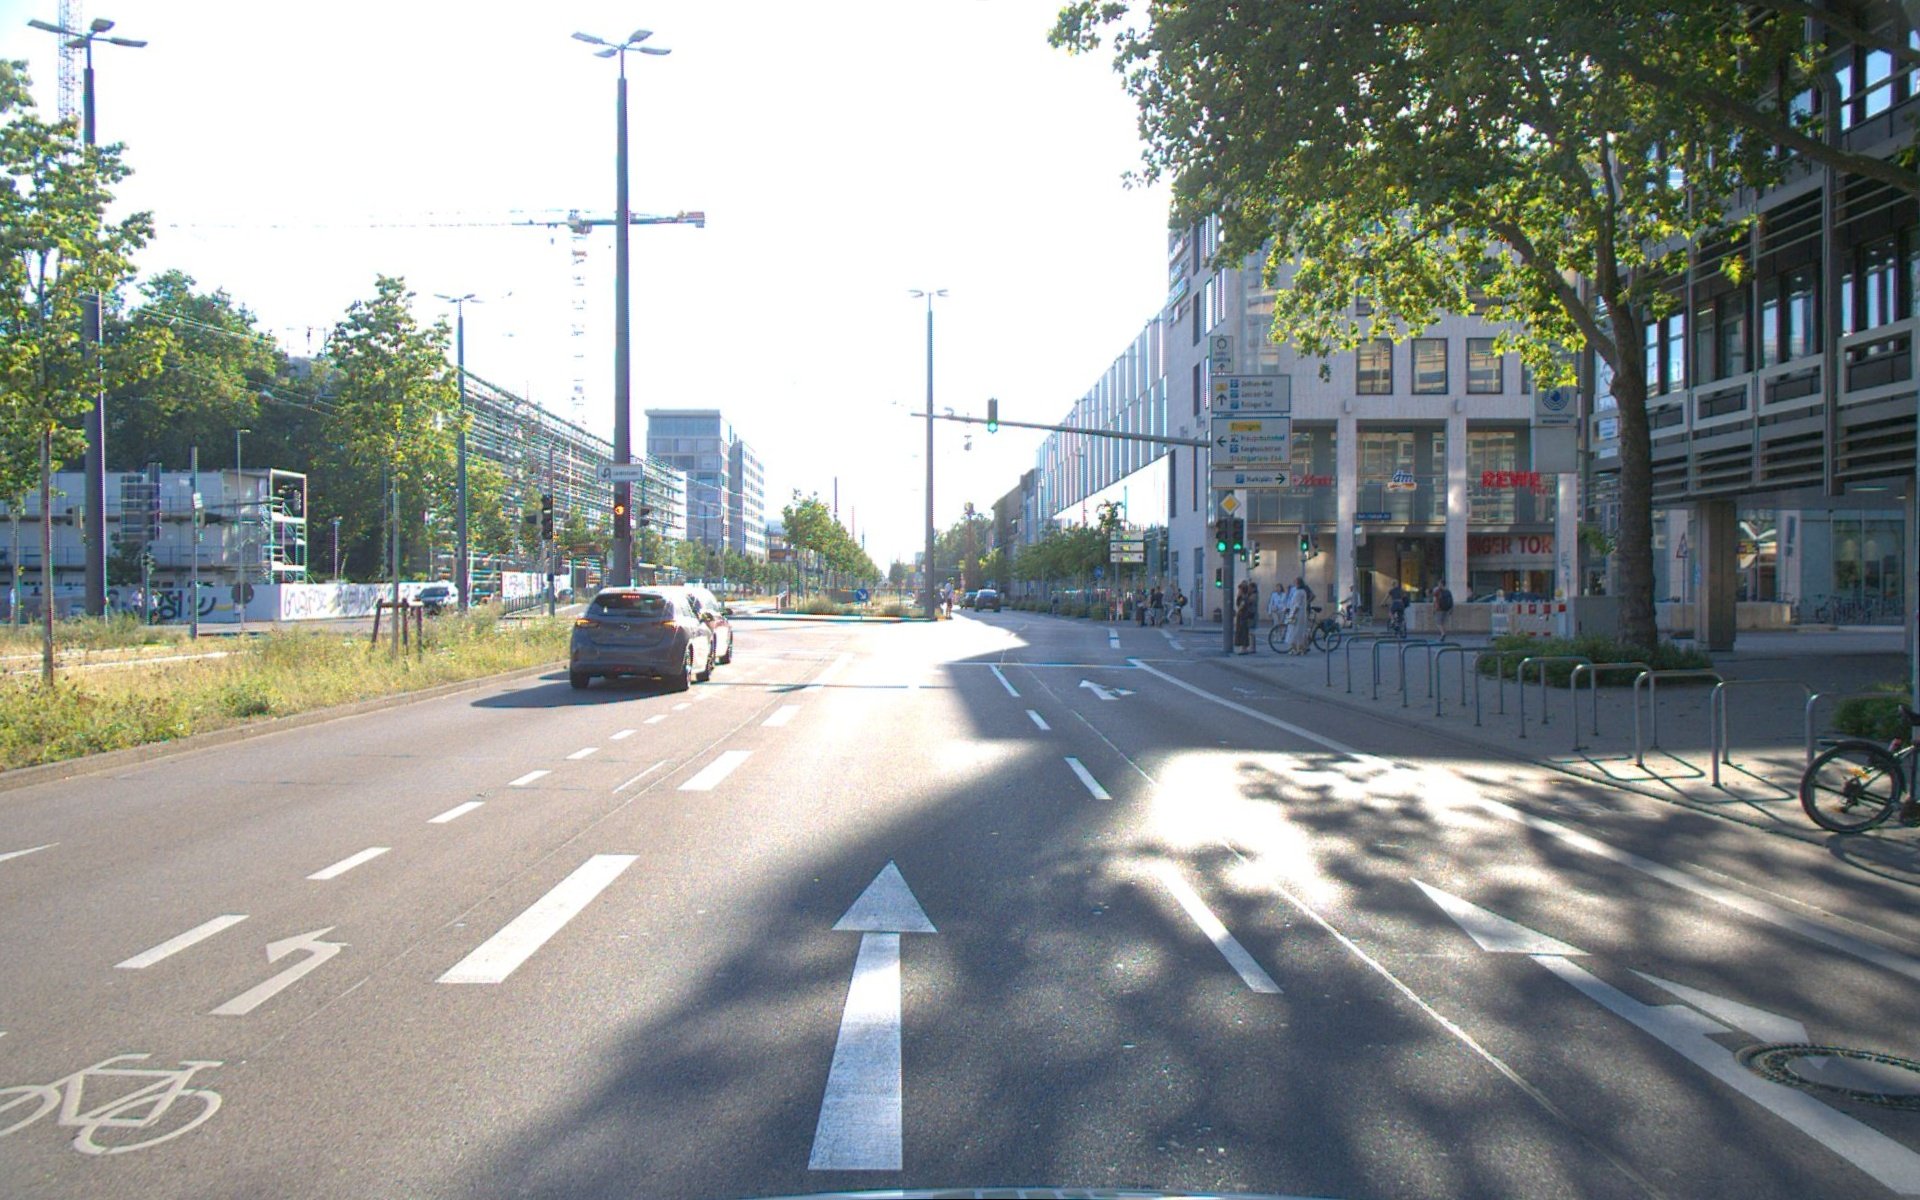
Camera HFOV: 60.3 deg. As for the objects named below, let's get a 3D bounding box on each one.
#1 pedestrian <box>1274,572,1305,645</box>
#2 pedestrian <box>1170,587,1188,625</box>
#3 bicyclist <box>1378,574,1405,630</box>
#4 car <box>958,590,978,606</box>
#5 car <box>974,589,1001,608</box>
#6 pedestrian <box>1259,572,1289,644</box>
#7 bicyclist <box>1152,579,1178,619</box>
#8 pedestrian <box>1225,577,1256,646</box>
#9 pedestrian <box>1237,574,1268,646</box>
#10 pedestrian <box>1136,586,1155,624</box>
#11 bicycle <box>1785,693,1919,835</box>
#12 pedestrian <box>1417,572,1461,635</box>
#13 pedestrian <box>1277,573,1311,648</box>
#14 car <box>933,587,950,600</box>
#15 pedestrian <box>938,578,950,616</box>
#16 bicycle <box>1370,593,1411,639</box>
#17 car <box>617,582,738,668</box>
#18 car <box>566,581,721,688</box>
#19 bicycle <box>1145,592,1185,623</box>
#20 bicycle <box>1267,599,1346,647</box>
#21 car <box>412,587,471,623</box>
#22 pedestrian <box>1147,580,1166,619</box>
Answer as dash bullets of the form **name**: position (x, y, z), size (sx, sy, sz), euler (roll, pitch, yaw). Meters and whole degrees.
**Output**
- **pedestrian**: position (9.602, 0.236, 48.194), size (0.750, 2.096, 0.797), euler (-2, 0, 5)
- **pedestrian**: position (10.326, 0.290, 77.973), size (0.800, 1.764, 0.790), euler (0, 0, 2)
- **bicyclist**: position (12.136, 0.055, 46.505), size (0.566, 1.549, 0.749), euler (0, 0, -1)
- **car**: position (0.737, -0.212, 157.551), size (1.669, 1.453, 3.923), euler (0, 1, -3)
- **car**: position (2.181, -0.126, 132.711), size (1.901, 1.453, 3.923), euler (0, 1, -3)
- **pedestrian**: position (9.322, 0.240, 49.156), size (0.750, 2.096, 0.797), euler (-2, 0, 5)
- **bicyclist**: position (8.336, -0.046, 67.334), size (0.785, 1.630, 0.783), euler (0, 0, 31)
- **pedestrian**: position (6.812, 0.279, 40.162), size (0.621, 1.636, 0.570), euler (-2, 0, -1)
- **pedestrian**: position (7.197, 0.249, 40.682), size (0.621, 1.732, 0.570), euler (-2, 0, -1)
- **pedestrian**: position (8.766, 0.221, 78.218), size (0.800, 1.764, 0.790), euler (0, 0, 2)
- **bicycle**: position (6.555, 1.089, 11.158), size (1.656, 0.882, 0.573), euler (-2, 0, 7)
- **pedestrian**: position (13.312, 0.100, 46.011), size (0.890, 1.732, 1.113), euler (0, 0, -1)
- **pedestrian**: position (7.815, 0.239, 38.666), size (0.621, 1.732, 0.570), euler (-2, 0, -1)
- **car**: position (-2.161, -0.755, 190.358), size (1.724, 1.510, 3.847), euler (0, 1, -3)
- **pedestrian**: position (-0.741, -0.135, 76.877), size (0.483, 1.774, 0.446), euler (0, 0, -12)
- **bicycle**: position (12.134, 0.439, 46.646), size (0.580, 1.253, 2.153), euler (0, 1, -1)
- **car**: position (-5.127, 0.407, 30.445), size (1.669, 1.453, 3.924), euler (1, 1, -2)
- **car**: position (-4.659, 0.452, 24.845), size (1.741, 1.453, 3.998), euler (1, 1, -3)
- **bicycle**: position (8.382, 0.277, 67.422), size (0.785, 1.225, 2.259), euler (0, 1, 31)
- **bicycle**: position (8.312, 0.547, 39.685), size (1.767, 1.105, 0.479), euler (-1, 0, 0)
- **car**: position (-27.452, 0.248, 87.651), size (1.953, 1.807, 3.999), euler (0, 1, -2)
- **pedestrian**: position (9.139, -0.025, 77.006), size (0.800, 1.764, 0.790), euler (0, 0, 2)
